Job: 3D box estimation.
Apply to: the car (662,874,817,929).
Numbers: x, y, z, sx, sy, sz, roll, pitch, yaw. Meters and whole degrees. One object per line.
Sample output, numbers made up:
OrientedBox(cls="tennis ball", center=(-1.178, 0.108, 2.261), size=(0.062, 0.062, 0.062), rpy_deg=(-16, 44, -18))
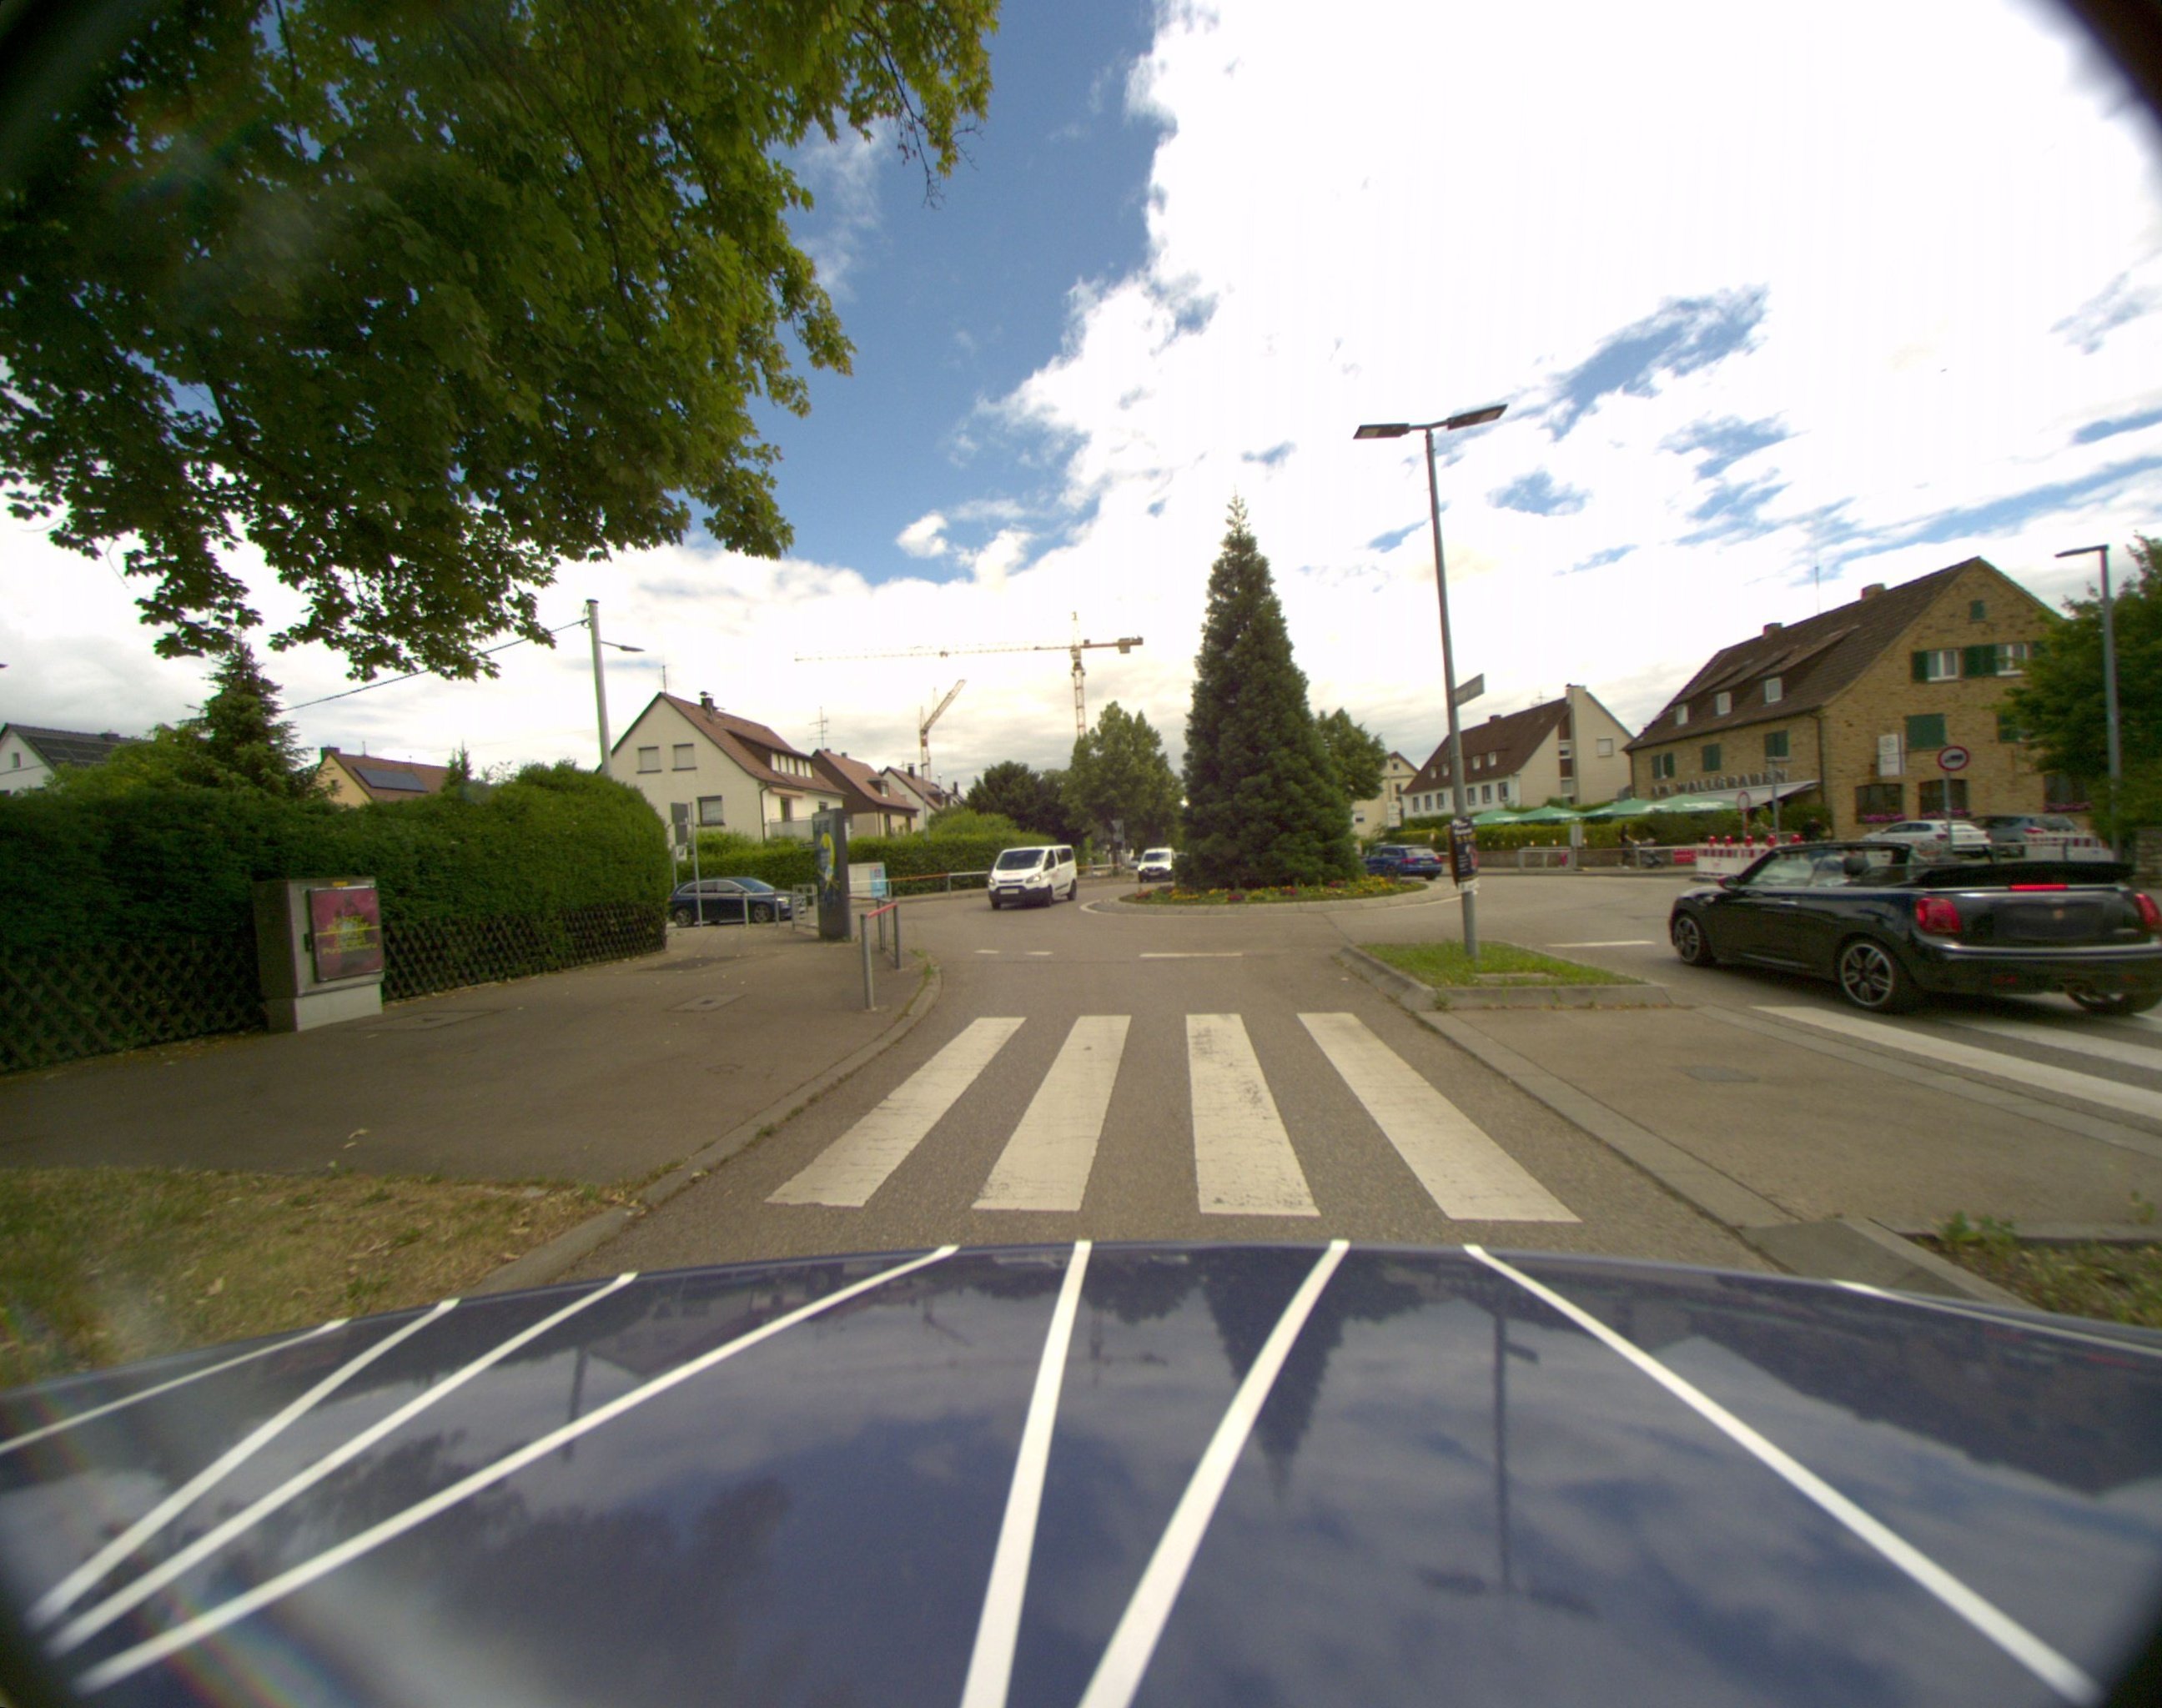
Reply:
OrientedBox(cls="car", center=(-11.034, 1.533, 24.670), size=(4.315, 1.440, 1.584), rpy_deg=(-4, 0, 8))

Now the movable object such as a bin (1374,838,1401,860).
OrientedBox(cls="movable object such as a bin", center=(21.290, -0.346, 52.791), size=(0.983, 1.408, 2.723), rpy_deg=(-3, 0, 6))

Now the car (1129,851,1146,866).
OrientedBox(cls="car", center=(6.139, 0.479, 82.969), size=(1.780, 1.446, 4.172), rpy_deg=(-2, 0, 4))

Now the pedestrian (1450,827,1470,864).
OrientedBox(cls="pedestrian", center=(19.275, -0.440, 38.671), size=(0.637, 1.816, 0.567), rpy_deg=(-4, 0, 1))

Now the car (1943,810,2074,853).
OrientedBox(cls="car", center=(35.291, -0.880, 29.036), size=(1.396, 1.492, 3.231), rpy_deg=(-3, 2, 10))

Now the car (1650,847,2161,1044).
OrientedBox(cls="car", center=(7.344, 0.657, 7.242), size=(1.576, 1.354, 3.746), rpy_deg=(-3, 0, 12))

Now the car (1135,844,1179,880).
OrientedBox(cls="car", center=(4.151, 0.412, 41.092), size=(1.925, 1.744, 4.003), rpy_deg=(-3, 0, 11))

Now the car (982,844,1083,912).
OrientedBox(cls="car", center=(-1.502, 0.727, 26.088), size=(1.997, 2.002, 5.054), rpy_deg=(-3, 0, 13))

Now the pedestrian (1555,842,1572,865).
OrientedBox(cls="pedestrian", center=(20.211, -0.016, 31.802), size=(0.341, 0.907, 0.427), rpy_deg=(-6, 0, -31))

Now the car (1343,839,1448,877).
OrientedBox(cls="car", center=(12.543, 0.117, 30.621), size=(1.615, 1.364, 4.501), rpy_deg=(-2, 1, -12))

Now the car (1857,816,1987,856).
OrientedBox(cls="car", center=(32.964, -0.728, 29.912), size=(1.466, 1.412, 3.675), rpy_deg=(-3, 2, 10))
